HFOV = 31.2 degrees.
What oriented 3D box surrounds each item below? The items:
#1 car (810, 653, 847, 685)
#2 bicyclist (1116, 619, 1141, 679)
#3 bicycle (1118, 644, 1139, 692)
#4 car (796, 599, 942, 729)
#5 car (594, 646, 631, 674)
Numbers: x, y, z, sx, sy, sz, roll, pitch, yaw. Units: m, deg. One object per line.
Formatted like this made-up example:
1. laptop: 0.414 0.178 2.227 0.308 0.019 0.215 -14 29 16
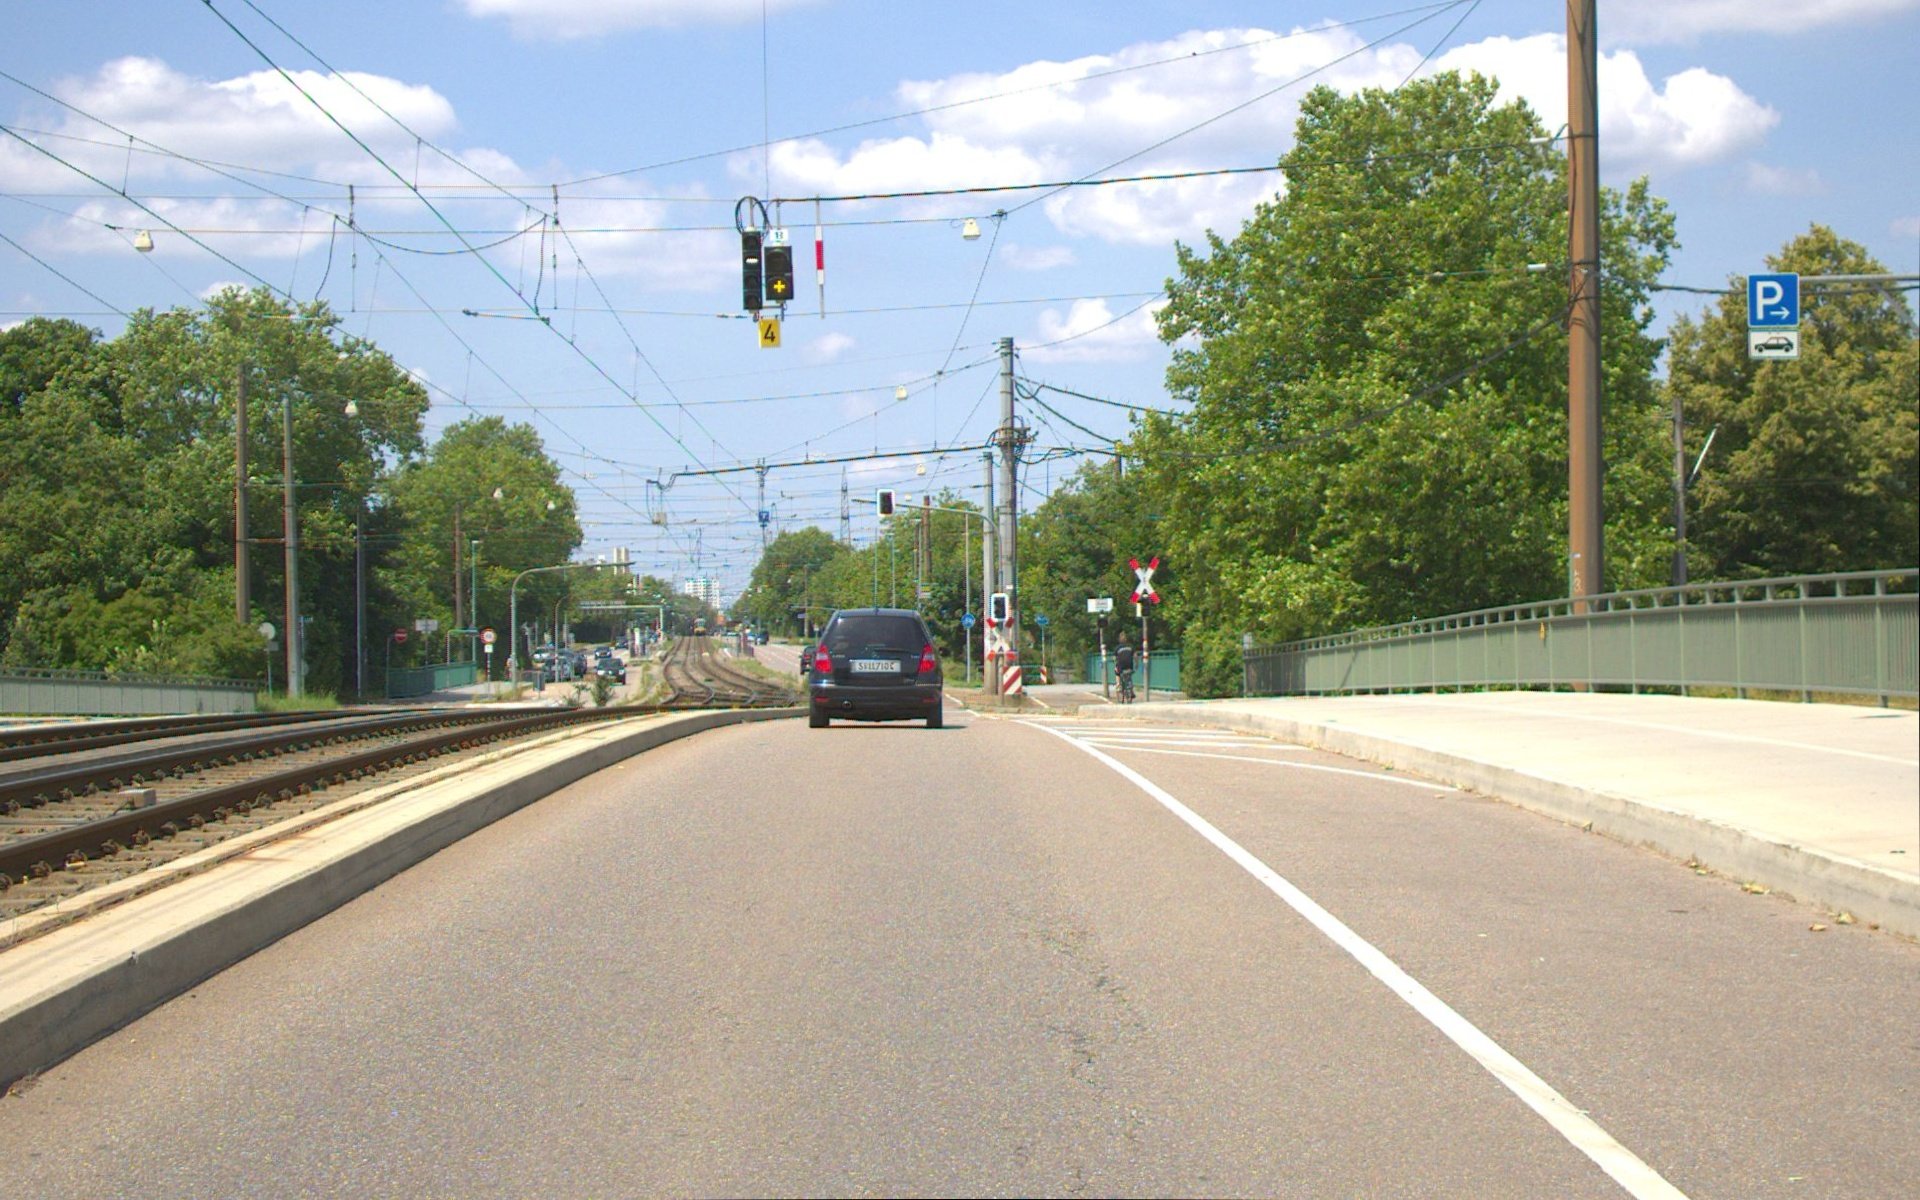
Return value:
1. car: -7.418 3.894 194.582 1.885 1.634 4.000 3 0 0
2. bicyclist: 4.274 1.238 87.261 0.585 1.490 0.558 1 0 0
3. bicycle: 4.271 1.712 87.193 0.432 1.148 1.855 1 1 0
4. car: -1.207 0.819 46.336 1.853 1.565 4.388 0 1 -1
5. car: -19.860 3.449 196.335 1.705 1.505 3.733 -2 -1 0
